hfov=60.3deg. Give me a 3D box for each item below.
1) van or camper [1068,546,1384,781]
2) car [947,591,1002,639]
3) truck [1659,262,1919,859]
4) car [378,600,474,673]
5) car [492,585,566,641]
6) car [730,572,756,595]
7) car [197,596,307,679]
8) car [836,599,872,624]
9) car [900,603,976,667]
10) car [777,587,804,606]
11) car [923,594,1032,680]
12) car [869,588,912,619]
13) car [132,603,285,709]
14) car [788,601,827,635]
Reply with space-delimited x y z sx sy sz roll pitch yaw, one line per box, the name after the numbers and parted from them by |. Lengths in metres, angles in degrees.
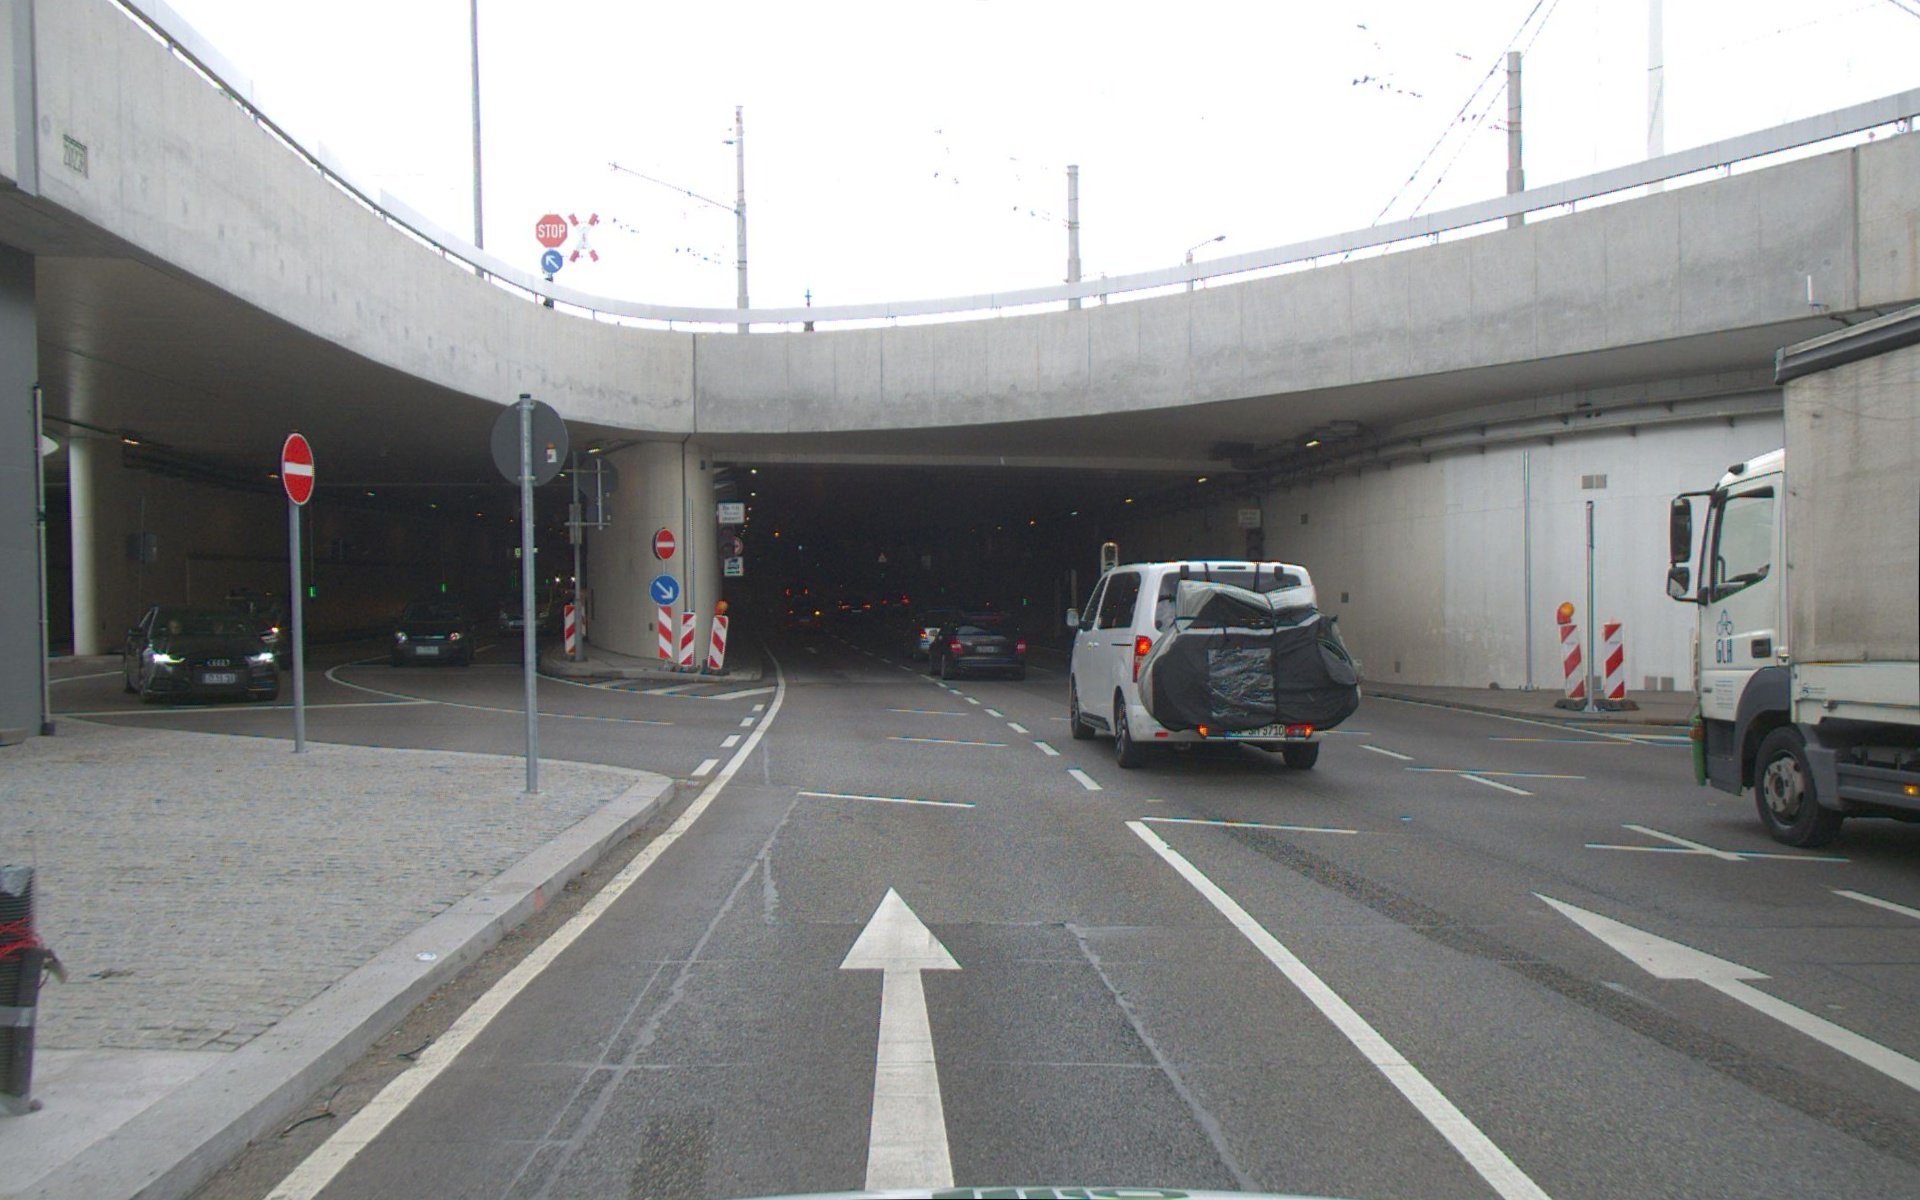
2.340 0.550 16.153 1.954 1.877 5.504 1 -1 -3 | van or camper
0.538 0.561 64.678 1.629 1.662 3.561 3 0 -7 | car
6.512 -0.218 8.471 2.596 3.240 7.425 -1 1 -1 | truck
-12.064 0.773 37.218 1.642 1.466 4.082 -1 1 -24 | car
-14.050 0.382 54.173 1.774 1.632 4.779 -1 1 -8 | car
-19.761 -1.490 150.411 1.960 2.049 3.986 -1 0 -14 | car
-15.038 0.742 35.311 1.766 1.627 4.305 -1 0 -18 | car
-5.586 0.593 86.778 1.632 1.269 3.561 0 0 -7 | car
-0.687 0.970 47.773 1.784 1.608 3.995 3 1 -6 | car
-11.654 -0.235 113.583 1.482 1.269 3.556 0 0 -12 | car
0.305 0.791 35.190 1.784 1.713 3.993 1 -2 -7 | car
-4.050 0.204 95.668 1.954 1.705 4.497 0 0 -10 | car
-11.863 0.797 25.930 1.830 1.468 4.797 -1 0 -29 | car
-6.959 0.816 75.345 1.629 1.514 3.561 0 0 -7 | car
